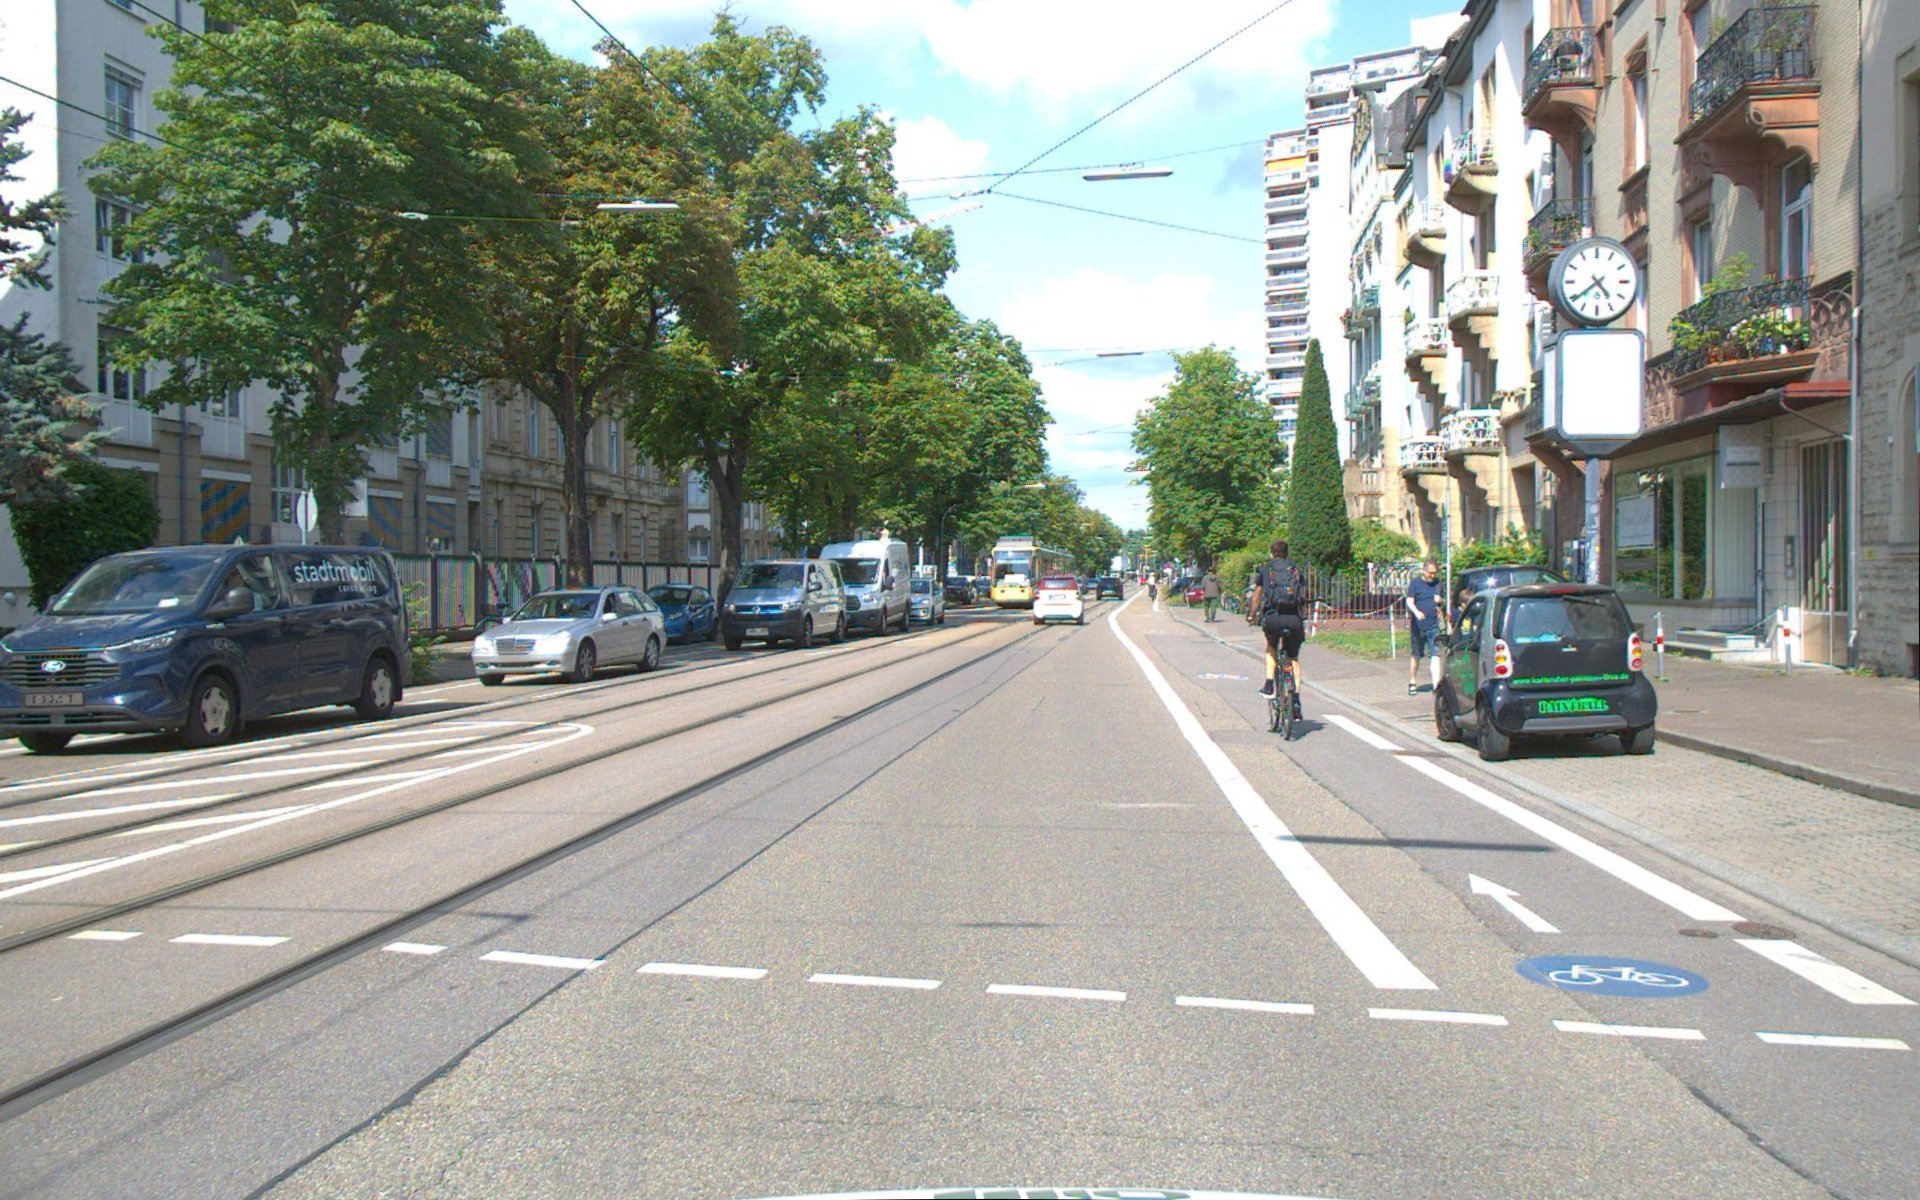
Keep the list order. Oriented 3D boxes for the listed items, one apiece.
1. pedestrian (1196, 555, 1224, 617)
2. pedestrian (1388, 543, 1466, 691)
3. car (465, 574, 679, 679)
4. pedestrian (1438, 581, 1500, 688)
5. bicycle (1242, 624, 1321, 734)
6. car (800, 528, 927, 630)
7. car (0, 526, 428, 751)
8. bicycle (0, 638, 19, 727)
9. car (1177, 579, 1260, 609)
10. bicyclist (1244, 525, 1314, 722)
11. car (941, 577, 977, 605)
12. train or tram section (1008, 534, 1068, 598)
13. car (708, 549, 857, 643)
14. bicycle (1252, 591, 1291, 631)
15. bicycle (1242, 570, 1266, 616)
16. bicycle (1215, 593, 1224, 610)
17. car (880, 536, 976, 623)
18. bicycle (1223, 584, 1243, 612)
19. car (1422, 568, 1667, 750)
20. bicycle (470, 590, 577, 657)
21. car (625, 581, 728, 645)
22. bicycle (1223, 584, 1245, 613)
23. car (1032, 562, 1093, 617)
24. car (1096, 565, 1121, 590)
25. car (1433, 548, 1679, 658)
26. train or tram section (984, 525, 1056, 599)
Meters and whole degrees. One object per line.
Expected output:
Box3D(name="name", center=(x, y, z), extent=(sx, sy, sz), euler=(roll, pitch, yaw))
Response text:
Box3D(name="pedestrian", center=(7.788, -0.432, 51.489), extent=(0.771, 1.894, 0.580), euler=(0, 0, 0))
Box3D(name="pedestrian", center=(6.210, 0.220, 22.020), extent=(0.646, 1.873, 0.873), euler=(-4, 0, -1))
Box3D(name="car", center=(-6.098, 0.362, 26.558), extent=(1.656, 1.506, 4.486), euler=(-1, 1, 10))
Box3D(name="pedestrian", center=(6.687, 0.444, 21.741), extent=(0.558, 1.348, 0.442), euler=(-5, 0, -1))
Box3D(name="bicycle", center=(3.347, 0.801, 17.338), extent=(0.603, 1.063, 1.837), euler=(-4, -1, 7))
Box3D(name="car", center=(-2.515, -0.595, 45.014), extent=(2.266, 2.551, 6.369), euler=(-1, 1, 7))
Box3D(name="car", center=(-7.652, 0.344, 17.328), extent=(1.886, 1.950, 5.128), euler=(-2, 0, 7))
Box3D(name="bicycle", center=(-11.052, 0.908, 17.503), extent=(0.977, 0.949, 1.862), euler=(3, 2, 5))
Box3D(name="car", center=(13.199, -0.329, 84.374), extent=(4.113, 1.448, 1.843), euler=(-1, 0, -36))
Box3D(name="bicyclist", center=(3.328, 0.234, 17.333), extent=(0.594, 1.982, 1.131), euler=(1, 0, 6))
Box3D(name="car", center=(-0.035, -0.558, 102.944), extent=(1.713, 1.694, 4.724), euler=(1, 0, 6))
Box3D(name="train or tram section", center=(4.719, -1.891, 97.823), extent=(2.596, 3.448, 11.482), euler=(-2, 0, 7))
Box3D(name="car", center=(-3.933, -0.127, 37.640), extent=(1.944, 1.997, 5.184), euler=(0, 1, 10))
Box3D(name="bicycle", center=(8.258, 0.269, 43.955), extent=(0.586, 0.977, 3.068), euler=(-4, 0, 4))
Box3D(name="bicycle", center=(8.547, -0.207, 48.107), extent=(0.441, 1.283, 1.845), euler=(-3, 1, 4))
Box3D(name="bicycle", center=(10.888, 0.040, 69.341), extent=(0.273, 0.689, 1.560), euler=(-4, 0, 7))
Box3D(name="car", center=(-0.920, -0.636, 51.983), extent=(2.267, 2.551, 6.368), euler=(-1, 1, 5))
Box3D(name="bicycle", center=(10.296, -0.082, 62.443), extent=(0.599, 1.006, 1.873), euler=(-2, 0, 6))
Box3D(name="car", center=(5.505, 0.503, 15.885), extent=(1.482, 1.525, 2.796), euler=(-3, 0, 5))
Box3D(name="bicycle", center=(-8.972, 0.485, 34.013), extent=(2.032, 1.332, 0.613), euler=(1, 0, -35))
Box3D(name="car", center=(-7.281, 0.313, 42.799), extent=(1.516, 1.545, 4.088), euler=(1, 0, 6))
Box3D(name="bicycle", center=(9.942, -0.049, 60.067), extent=(0.597, 1.013, 2.364), euler=(-3, 0, 6))
Box3D(name="car", center=(3.322, -0.339, 53.188), extent=(1.630, 1.653, 3.623), euler=(1, 0, 8))
Box3D(name="car", center=(10.053, -1.511, 111.851), extent=(1.630, 1.653, 3.624), euler=(0, 1, 7))
Box3D(name="car", center=(9.437, 0.041, 26.441), extent=(3.329, 1.550, 1.973), euler=(-2, 0, 9))
Box3D(name="train or tram section", center=(3.266, -1.848, 86.105), extent=(2.596, 3.496, 12.324), euler=(-2, 0, 7))
